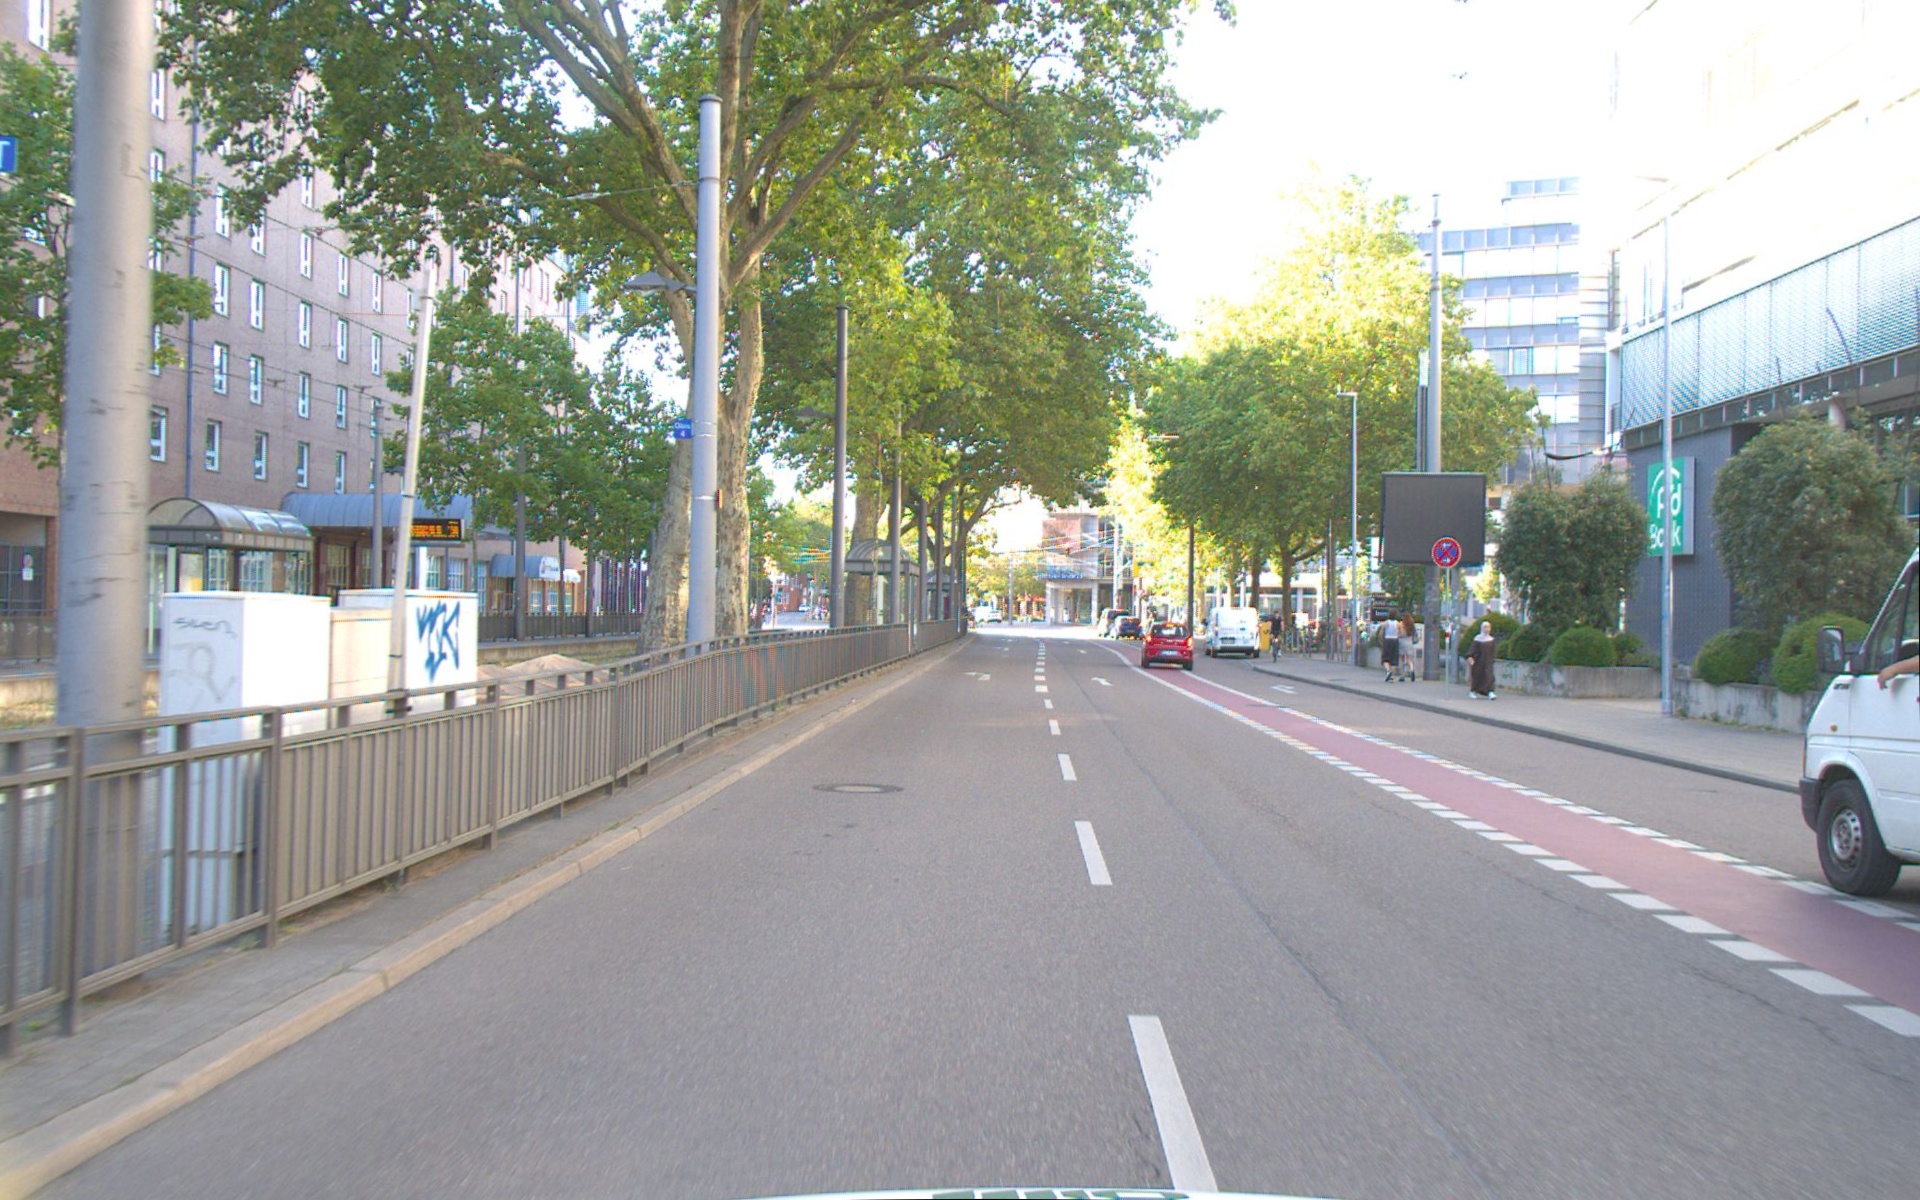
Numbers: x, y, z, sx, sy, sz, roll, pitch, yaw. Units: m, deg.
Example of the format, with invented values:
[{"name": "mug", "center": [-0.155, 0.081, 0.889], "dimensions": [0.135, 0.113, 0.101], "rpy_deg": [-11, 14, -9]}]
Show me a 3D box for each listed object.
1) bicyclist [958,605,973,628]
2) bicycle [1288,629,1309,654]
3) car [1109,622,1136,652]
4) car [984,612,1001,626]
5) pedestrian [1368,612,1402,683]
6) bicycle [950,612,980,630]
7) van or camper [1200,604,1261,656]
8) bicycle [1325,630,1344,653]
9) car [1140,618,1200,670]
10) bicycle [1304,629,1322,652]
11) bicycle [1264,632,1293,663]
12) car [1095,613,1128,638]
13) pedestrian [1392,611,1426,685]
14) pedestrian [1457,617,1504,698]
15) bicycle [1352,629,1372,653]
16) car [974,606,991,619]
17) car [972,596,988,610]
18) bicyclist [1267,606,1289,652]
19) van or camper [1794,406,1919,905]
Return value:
[{"name": "bicyclist", "center": [0.380, 1.170, 117.699], "dimensions": [0.823, 1.619, 0.835], "rpy_deg": [2, -1, -18]}, {"name": "bicycle", "center": [15.040, 1.840, 73.488], "dimensions": [0.573, 1.086, 1.900], "rpy_deg": [0, -1, 1]}, {"name": "car", "center": [10.379, 2.340, 105.526], "dimensions": [1.601, 1.831, 3.331], "rpy_deg": [1, 0, 4]}, {"name": "car", "center": [3.745, 2.195, 193.547], "dimensions": [1.742, 1.561, 3.410], "rpy_deg": [2, 0, -3]}, {"name": "pedestrian", "center": [10.716, 1.190, 41.696], "dimensions": [0.552, 1.732, 0.907], "rpy_deg": [-2, -1, 0]}, {"name": "bicycle", "center": [0.332, 1.475, 117.668], "dimensions": [1.980, 1.235, 0.835], "rpy_deg": [2, 0, -18]}, {"name": "van or camper", "center": [11.103, 1.226, 68.170], "dimensions": [1.952, 2.024, 4.746], "rpy_deg": [1, -1, 3]}, {"name": "bicycle", "center": [16.621, 1.819, 73.471], "dimensions": [0.493, 0.999, 1.768], "rpy_deg": [0, -1, 1]}, {"name": "car", "center": [6.821, 1.411, 53.938], "dimensions": [1.580, 1.561, 3.412], "rpy_deg": [1, 0, 2]}, {"name": "bicycle", "center": [15.668, 1.797, 73.487], "dimensions": [0.458, 0.999, 1.768], "rpy_deg": [0, -1, 1]}, {"name": "bicycle", "center": [11.965, 1.772, 62.185], "dimensions": [0.669, 1.086, 2.469], "rpy_deg": [0, -1, 1]}, {"name": "car", "center": [10.186, 1.715, 111.603], "dimensions": [1.742, 1.561, 3.510], "rpy_deg": [2, 0, -3]}, {"name": "pedestrian", "center": [11.326, 1.194, 41.728], "dimensions": [0.529, 1.827, 0.907], "rpy_deg": [-2, -1, 0]}, {"name": "pedestrian", "center": [10.605, 1.158, 33.740], "dimensions": [0.629, 1.607, 0.723], "rpy_deg": [-3, -1, -3]}, {"name": "bicycle", "center": [17.833, 1.815, 73.462], "dimensions": [0.493, 0.999, 1.768], "rpy_deg": [0, -1, 1]}, {"name": "car", "center": [2.700, 1.521, 200.185], "dimensions": [1.742, 1.561, 3.410], "rpy_deg": [2, 0, -3]}, {"name": "car", "center": [2.510, 0.347, 206.219], "dimensions": [1.742, 1.616, 3.410], "rpy_deg": [2, 0, -3]}, {"name": "bicyclist", "center": [11.964, 1.094, 62.296], "dimensions": [0.636, 1.731, 0.952], "rpy_deg": [1, -1, 1]}, {"name": "van or camper", "center": [6.256, 0.321, 7.392], "dimensions": [1.928, 2.763, 6.305], "rpy_deg": [2, 0, 1]}]
